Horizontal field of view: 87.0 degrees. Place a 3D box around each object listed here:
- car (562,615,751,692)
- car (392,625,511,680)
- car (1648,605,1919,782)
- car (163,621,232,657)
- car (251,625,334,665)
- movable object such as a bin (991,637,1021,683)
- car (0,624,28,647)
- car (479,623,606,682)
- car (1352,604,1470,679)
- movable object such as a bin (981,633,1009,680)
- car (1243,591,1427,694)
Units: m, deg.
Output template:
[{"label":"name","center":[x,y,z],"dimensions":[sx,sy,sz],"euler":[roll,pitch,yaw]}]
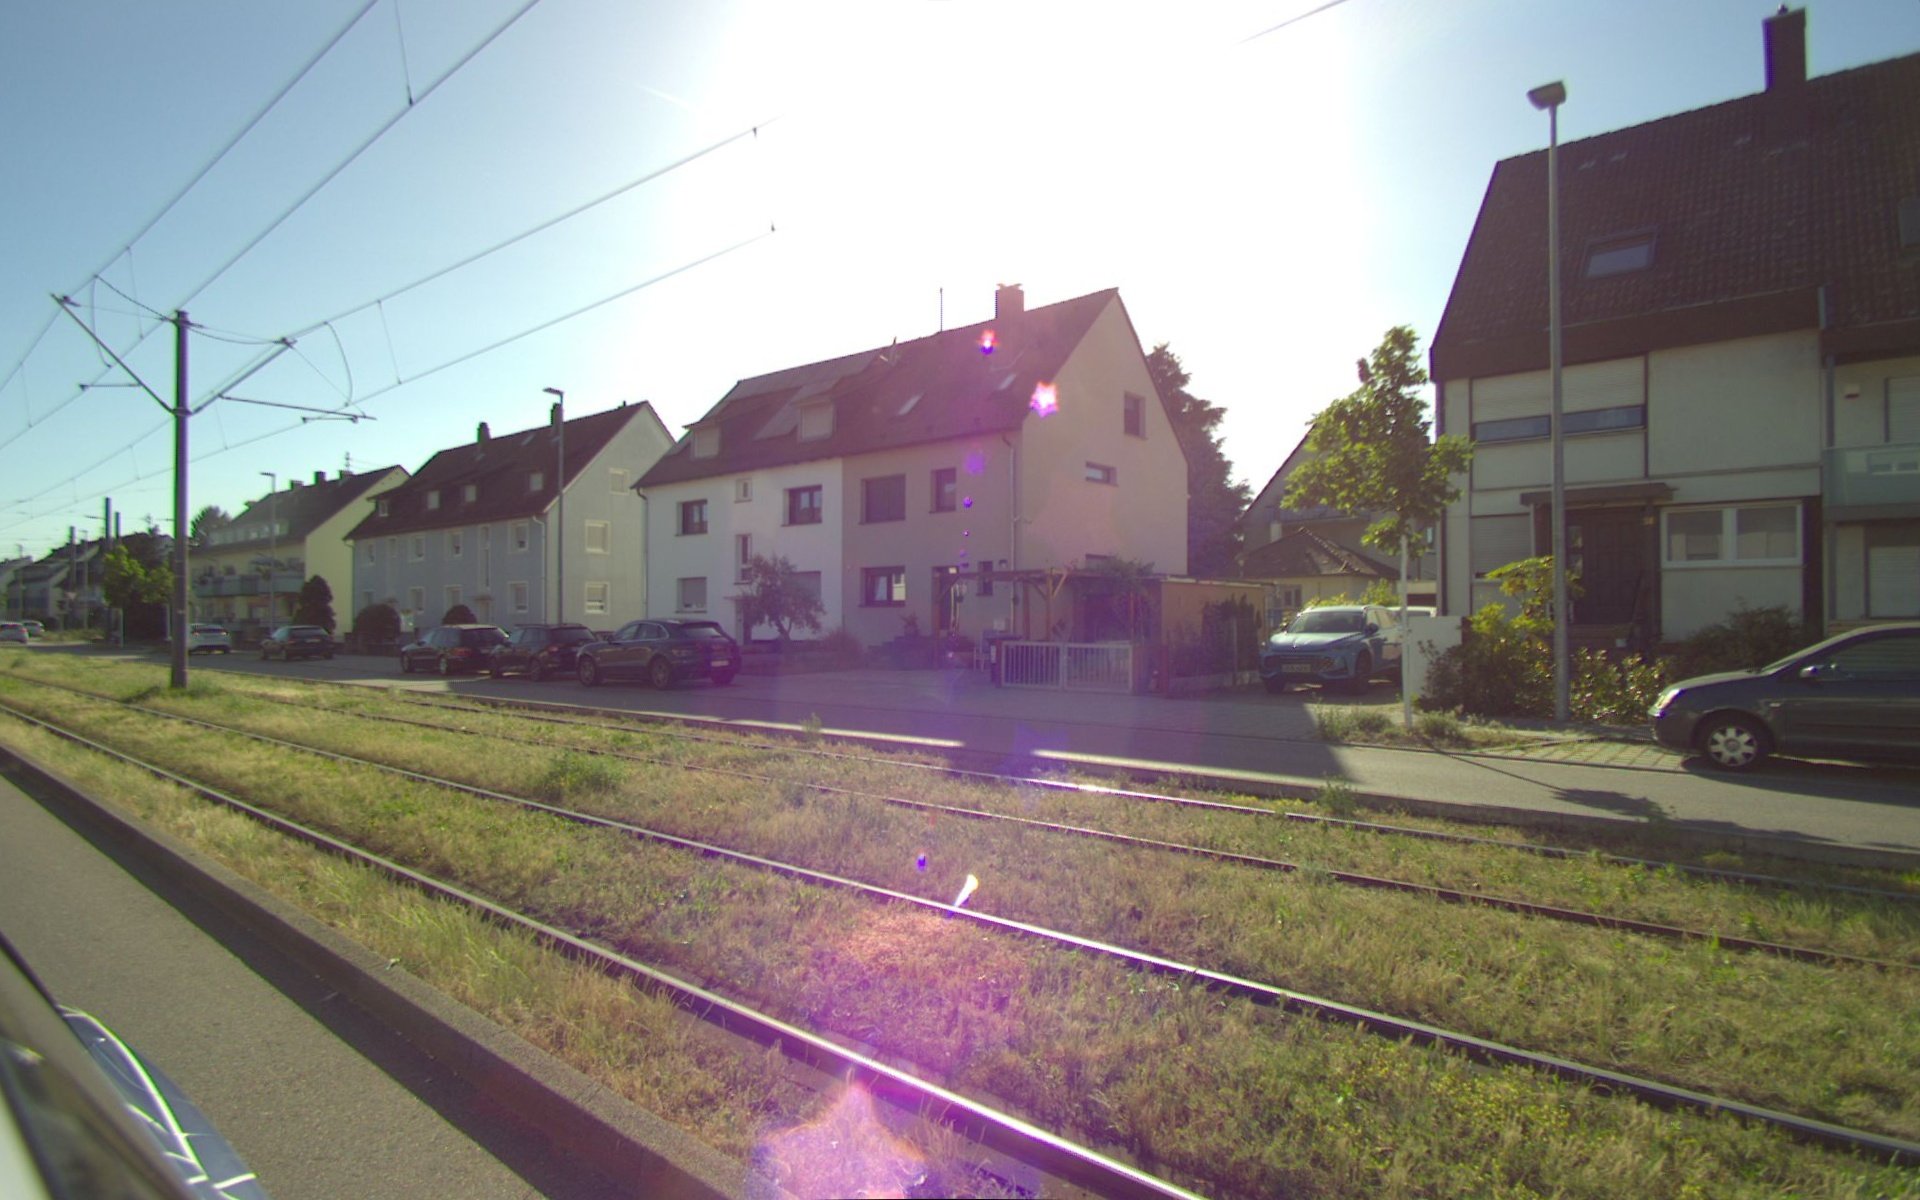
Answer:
[{"label":"car","center":[-7.174,1.161,23.649],"dimensions":[4.855,1.572,1.901],"euler":[-1,0,41]},{"label":"car","center":[-15.319,1.511,30.391],"dimensions":[4.398,1.466,1.636],"euler":[-1,0,41]},{"label":"car","center":[9.009,0.824,9.435],"dimensions":[4.085,1.523,1.601],"euler":[-1,0,43]},{"label":"car","center":[-36.254,1.817,48.063],"dimensions":[4.090,1.542,1.808],"euler":[-1,0,41]},{"label":"car","center":[-26.405,1.736,39.996],"dimensions":[4.090,1.408,1.682],"euler":[-1,0,41]},{"label":"movable object such as a bin","center":[0.969,1.271,21.368],"dimensions":[0.607,0.954,0.196],"euler":[-3,-1,44]},{"label":"car","center":[-66.734,2.494,70.869],"dimensions":[4.090,1.474,1.682],"euler":[-1,0,41]},{"label":"car","center":[-11.152,1.364,26.922],"dimensions":[3.996,1.479,1.450],"euler":[-2,-2,40]},{"label":"car","center":[10.637,0.921,23.741],"dimensions":[1.508,1.605,3.796],"euler":[-1,-1,40]},{"label":"movable object such as a bin","center":[0.764,1.242,22.406],"dimensions":[0.607,1.021,0.196],"euler":[-3,-1,44]},{"label":"car","center":[7.468,0.777,19.938],"dimensions":[1.969,1.797,4.346],"euler":[-2,-2,41]}]
